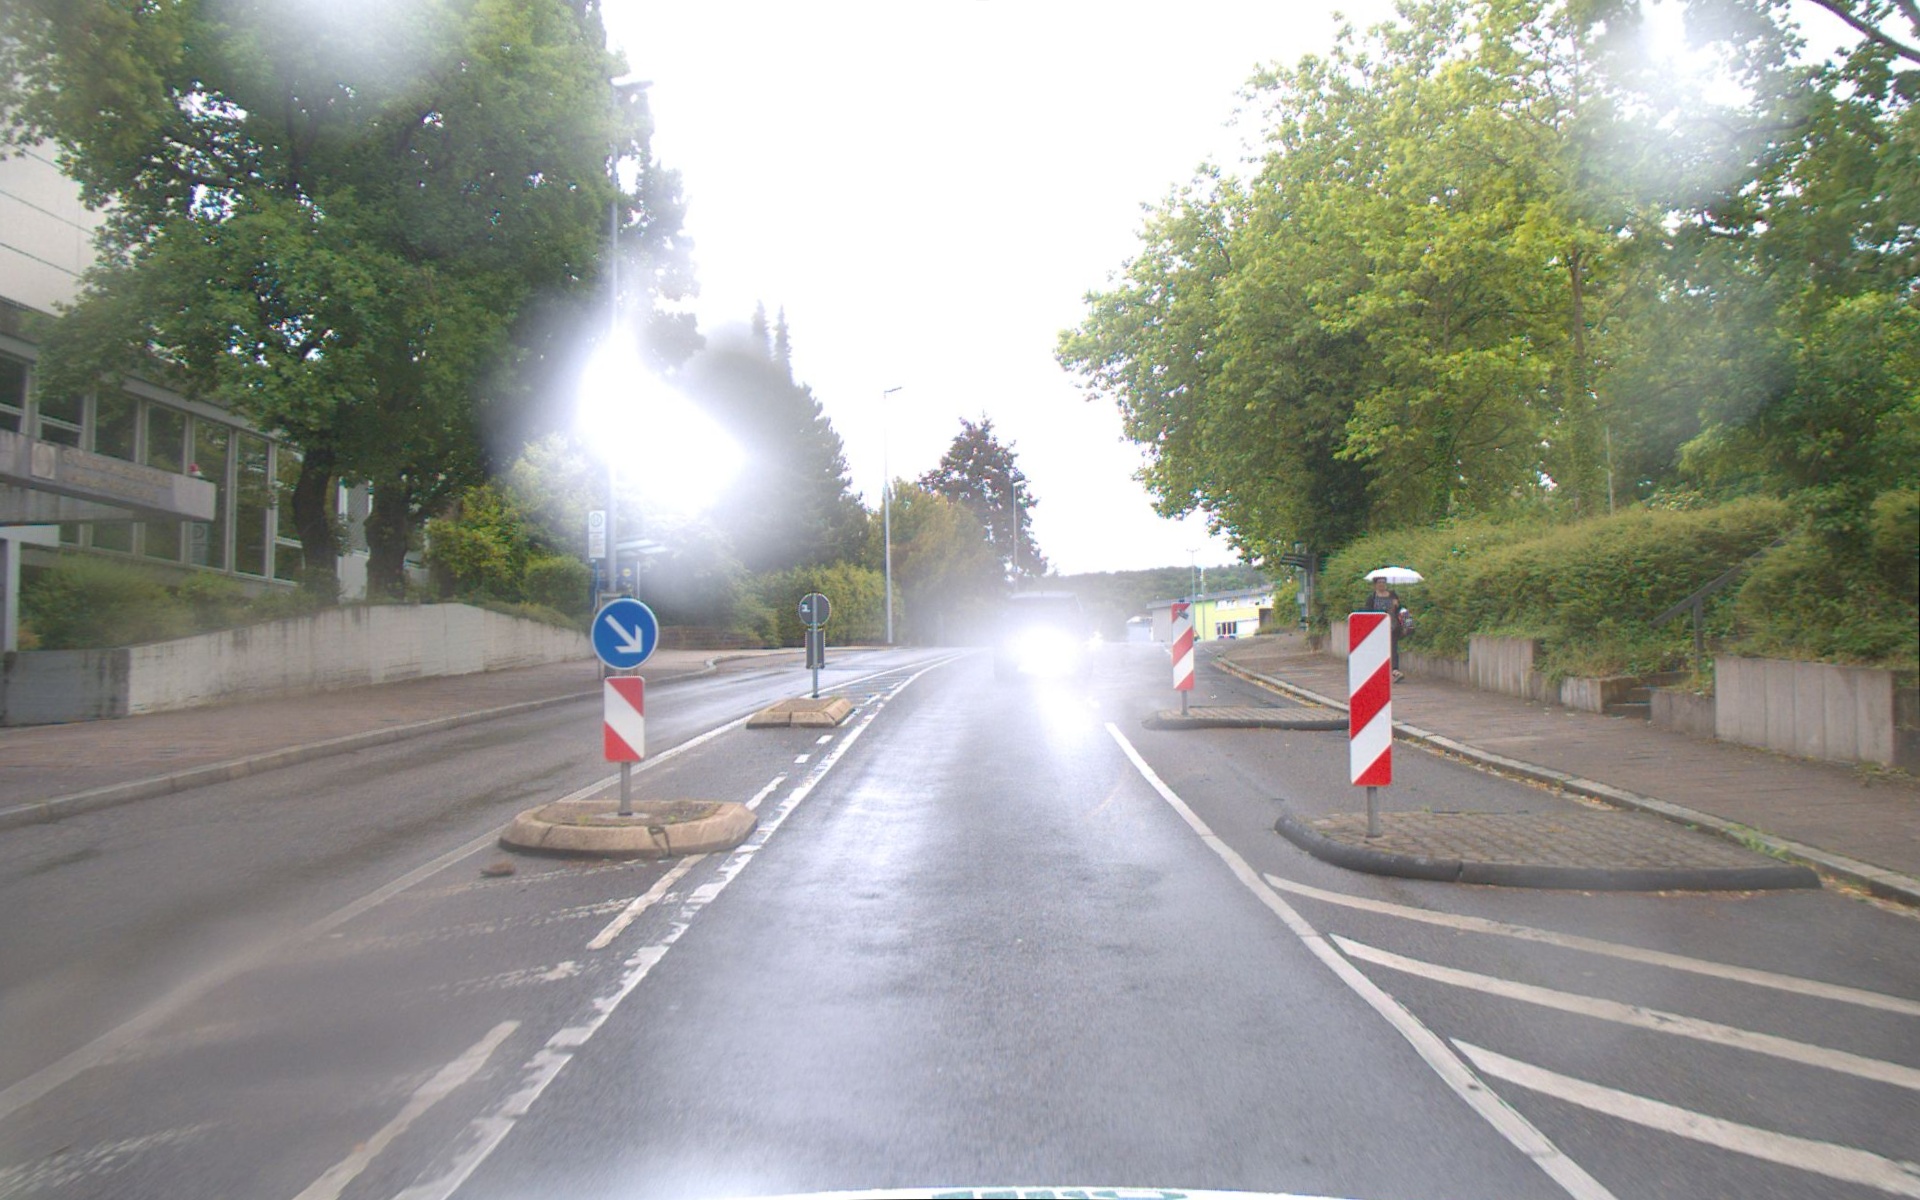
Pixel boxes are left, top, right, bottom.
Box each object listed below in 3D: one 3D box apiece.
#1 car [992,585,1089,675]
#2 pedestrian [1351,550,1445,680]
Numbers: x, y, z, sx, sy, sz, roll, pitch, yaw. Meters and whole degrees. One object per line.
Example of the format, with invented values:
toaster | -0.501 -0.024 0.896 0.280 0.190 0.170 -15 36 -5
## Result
car | 1.536 0.538 32.201 1.753 1.631 4.254 0 0 2
pedestrian | 6.656 0.242 25.202 1.030 1.927 1.132 -1 -2 -4
